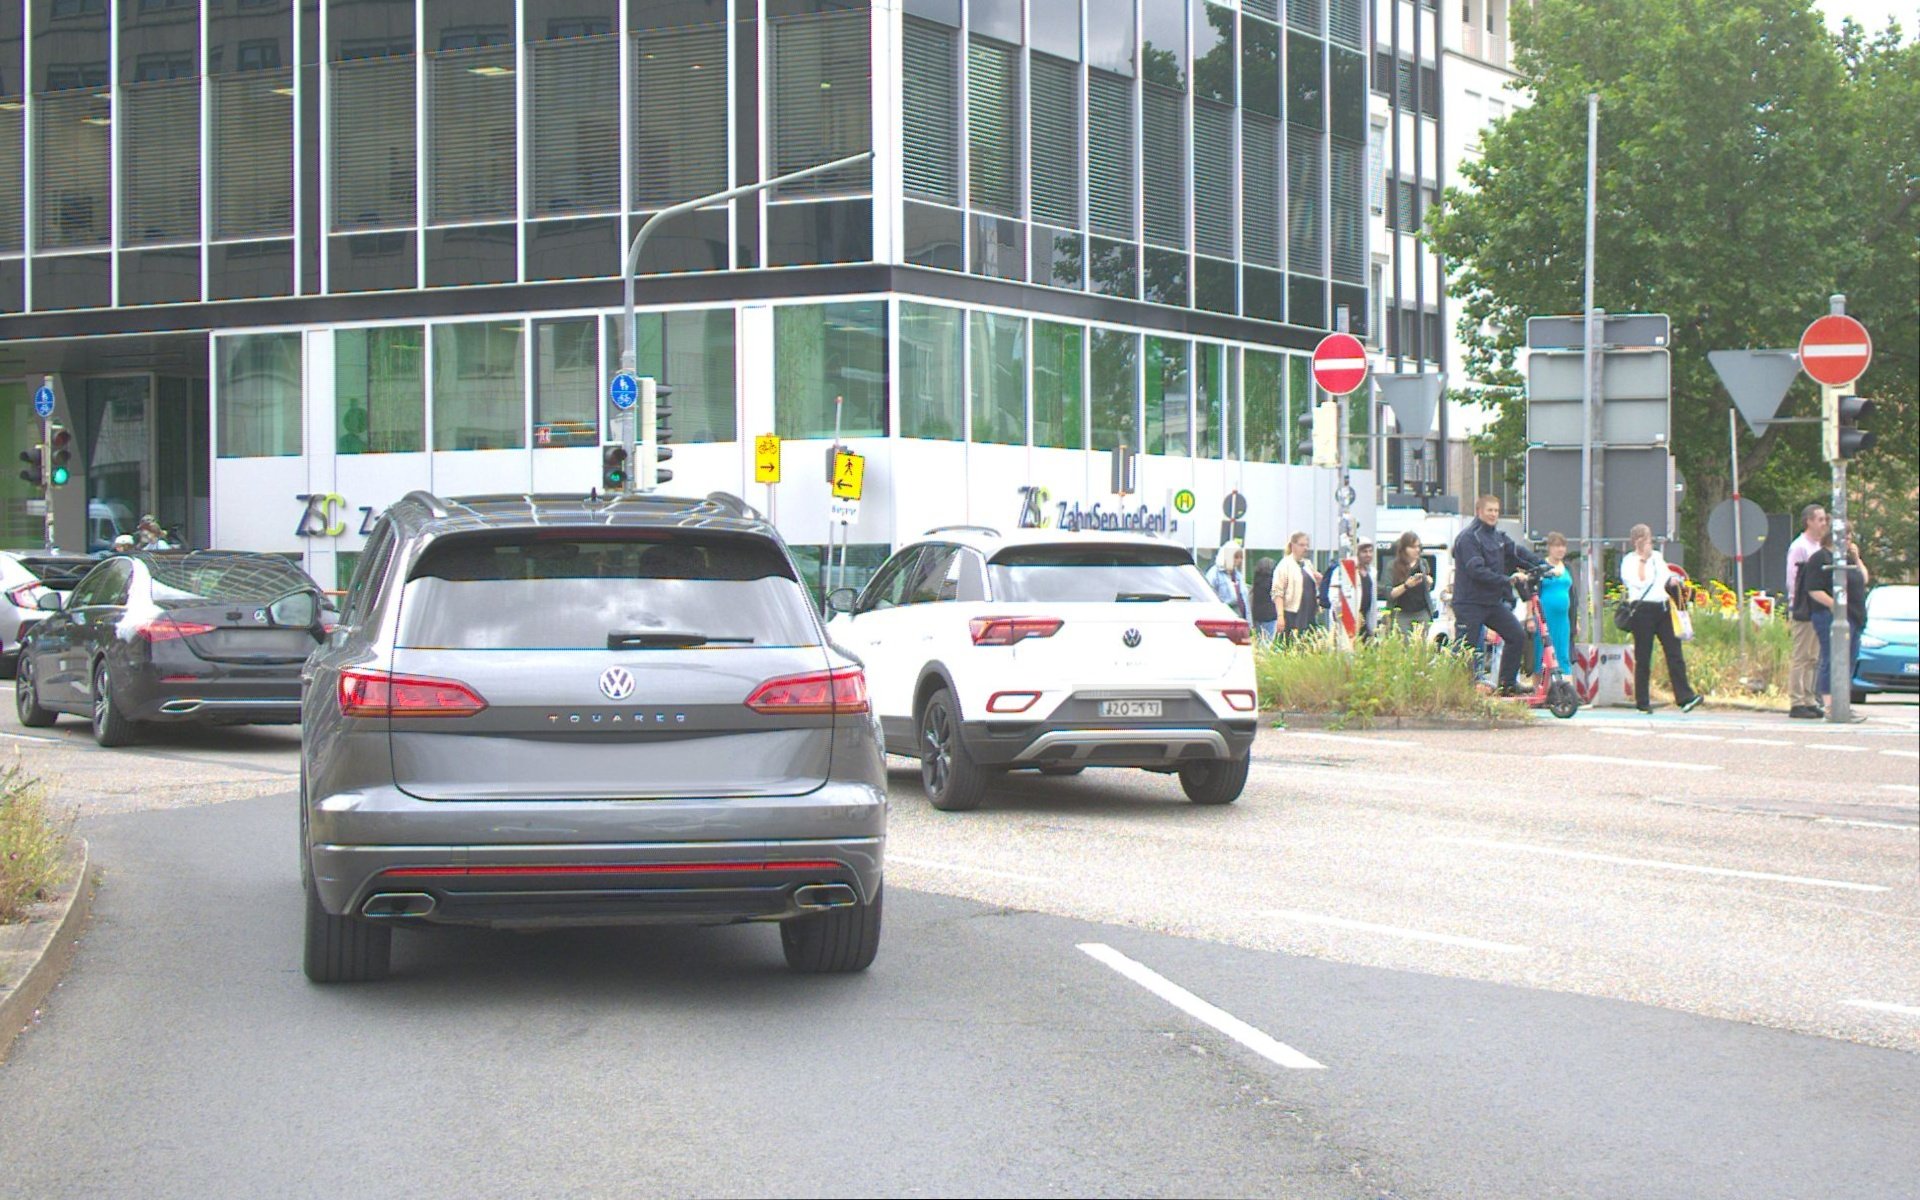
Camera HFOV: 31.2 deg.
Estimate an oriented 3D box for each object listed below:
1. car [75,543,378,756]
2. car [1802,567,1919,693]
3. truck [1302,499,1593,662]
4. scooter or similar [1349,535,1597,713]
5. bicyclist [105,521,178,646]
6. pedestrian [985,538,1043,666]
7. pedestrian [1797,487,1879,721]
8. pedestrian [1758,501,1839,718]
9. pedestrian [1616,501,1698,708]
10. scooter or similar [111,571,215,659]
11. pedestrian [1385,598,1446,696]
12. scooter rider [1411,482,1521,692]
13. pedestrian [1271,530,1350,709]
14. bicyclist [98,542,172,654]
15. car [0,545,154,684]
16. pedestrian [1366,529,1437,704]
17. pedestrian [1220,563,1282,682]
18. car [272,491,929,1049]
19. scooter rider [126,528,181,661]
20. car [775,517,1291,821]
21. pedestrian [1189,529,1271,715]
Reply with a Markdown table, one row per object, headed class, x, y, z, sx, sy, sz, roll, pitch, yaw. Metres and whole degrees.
| class | x | y | z | sx | sy | sz | roll | pitch | yaw |
| --- | --- | --- | --- | --- | --- | --- | --- | --- | --- |
| car | -5.551 | 0.316 | 25.666 | 1.833 | 1.390 | 4.149 | 2 | 1 | -17 |
| car | 11.911 | 0.356 | 43.457 | 1.943 | 1.477 | 4.626 | 2 | 1 | 8 |
| truck | 9.820 | -0.350 | 68.395 | 2.342 | 3.053 | 8.183 | 1 | 0 | 34 |
| scooter or similar | 4.205 | 0.184 | 28.145 | 1.883 | 1.402 | 0.776 | 1 | 0 | 19 |
| bicyclist | -12.188 | -0.249 | 51.203 | 0.812 | 1.839 | 0.674 | 1 | 1 | 29 |
| pedestrian | 0.738 | 0.021 | 47.213 | 0.635 | 1.742 | 0.590 | 1 | 1 | 18 |
| pedestrian | 7.436 | 0.030 | 29.130 | 0.641 | 1.948 | 0.610 | 1 | 0 | 14 |
| pedestrian | 7.457 | 0.080 | 30.585 | 0.641 | 1.903 | 0.610 | 1 | 0 | 11 |
| pedestrian | 6.169 | 0.039 | 30.434 | 0.641 | 1.791 | 0.610 | 2 | 0 | 11 |
| scooter or similar | -10.912 | 0.202 | 47.097 | 1.319 | 1.172 | 0.593 | -1 | 1 | -7 |
| pedestrian | 8.302 | 0.851 | 62.619 | 0.873 | 1.740 | 0.846 | 1 | 1 | 26 |
| scooter rider | 4.147 | -0.111 | 28.162 | 0.744 | 1.688 | 0.765 | 1 | 0 | 19 |
| pedestrian | 3.589 | 0.195 | 35.142 | 0.701 | 1.809 | 0.669 | 1 | 0 | 13 |
| bicyclist | -11.585 | -0.030 | 48.276 | 0.844 | 1.544 | 0.565 | 0 | 1 | 6 |
| car | -10.657 | 0.115 | 38.565 | 1.833 | 1.427 | 4.148 | 2 | 1 | -32 |
| pedestrian | 4.317 | 0.159 | 33.600 | 0.641 | 1.690 | 0.610 | 1 | 0 | 10 |
| pedestrian | 4.144 | 0.319 | 48.921 | 0.589 | 1.673 | 0.637 | 0 | 1 | -40 |
| car | -1.501 | 0.447 | 12.676 | 1.969 | 1.690 | 4.226 | 0 | 2 | -12 |
| scooter rider | -11.041 | -0.086 | 47.074 | 0.641 | 1.802 | 0.593 | -1 | 1 | -7 |
| car | 0.306 | 0.312 | 20.115 | 1.797 | 1.540 | 3.937 | 0 | 2 | -18 |
| pedestrian | 2.732 | 0.217 | 34.748 | 0.701 | 1.856 | 0.669 | 1 | 0 | 13 |
